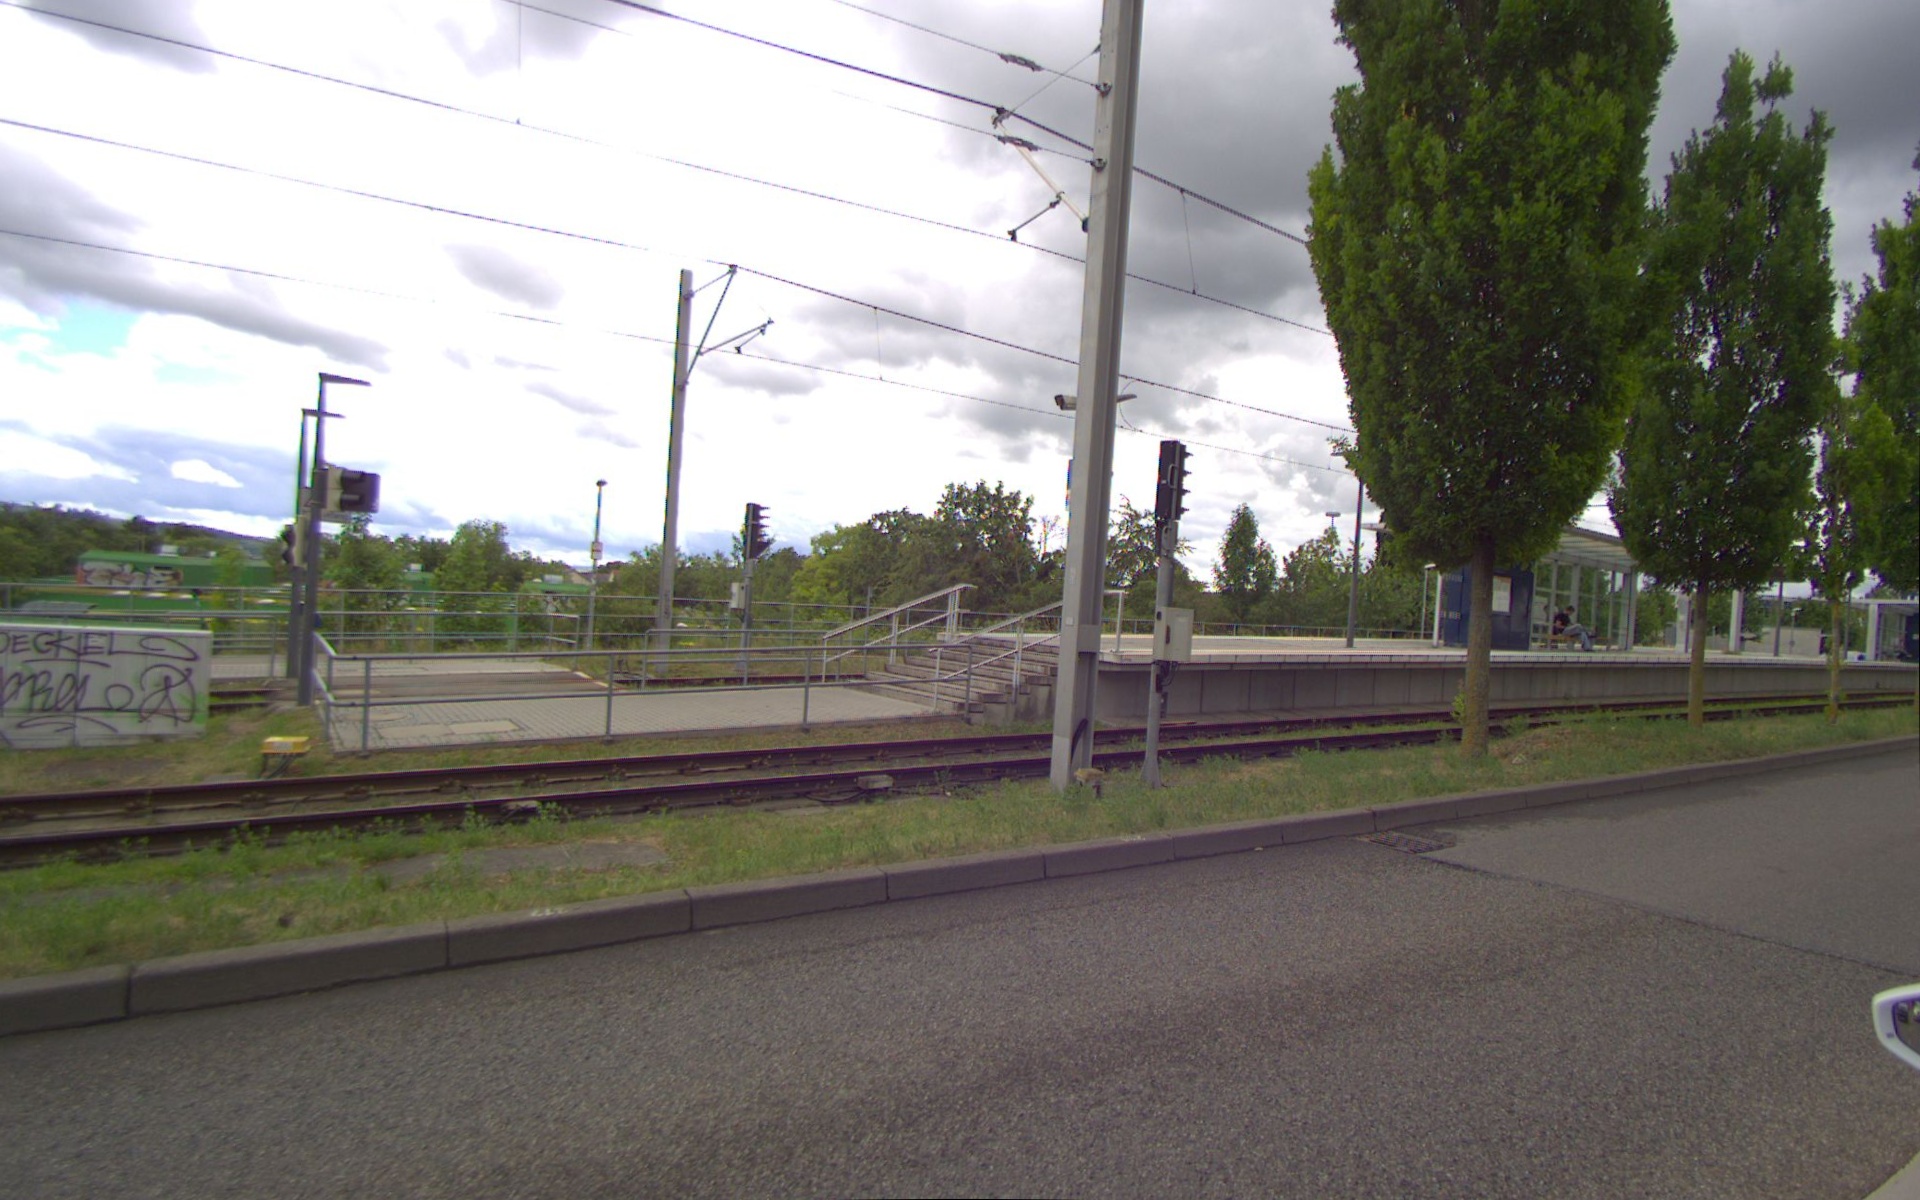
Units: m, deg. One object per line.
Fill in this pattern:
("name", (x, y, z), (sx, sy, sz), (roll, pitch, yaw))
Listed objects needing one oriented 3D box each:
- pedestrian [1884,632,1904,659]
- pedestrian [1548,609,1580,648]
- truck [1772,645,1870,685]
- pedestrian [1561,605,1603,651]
("pedestrian", (45.491, 2.203, 48.915), (0.654, 1.286, 0.605), (1, 0, -39))
("pedestrian", (16.975, 0.801, 28.229), (0.465, 1.093, 0.603), (1, 0, -34))
("truck", (88.392, 6.621, 103.243), (2.660, 3.647, 7.206), (1, 0, -29))
("pedestrian", (16.883, 0.752, 27.274), (0.659, 1.215, 0.756), (2, -1, -34))
